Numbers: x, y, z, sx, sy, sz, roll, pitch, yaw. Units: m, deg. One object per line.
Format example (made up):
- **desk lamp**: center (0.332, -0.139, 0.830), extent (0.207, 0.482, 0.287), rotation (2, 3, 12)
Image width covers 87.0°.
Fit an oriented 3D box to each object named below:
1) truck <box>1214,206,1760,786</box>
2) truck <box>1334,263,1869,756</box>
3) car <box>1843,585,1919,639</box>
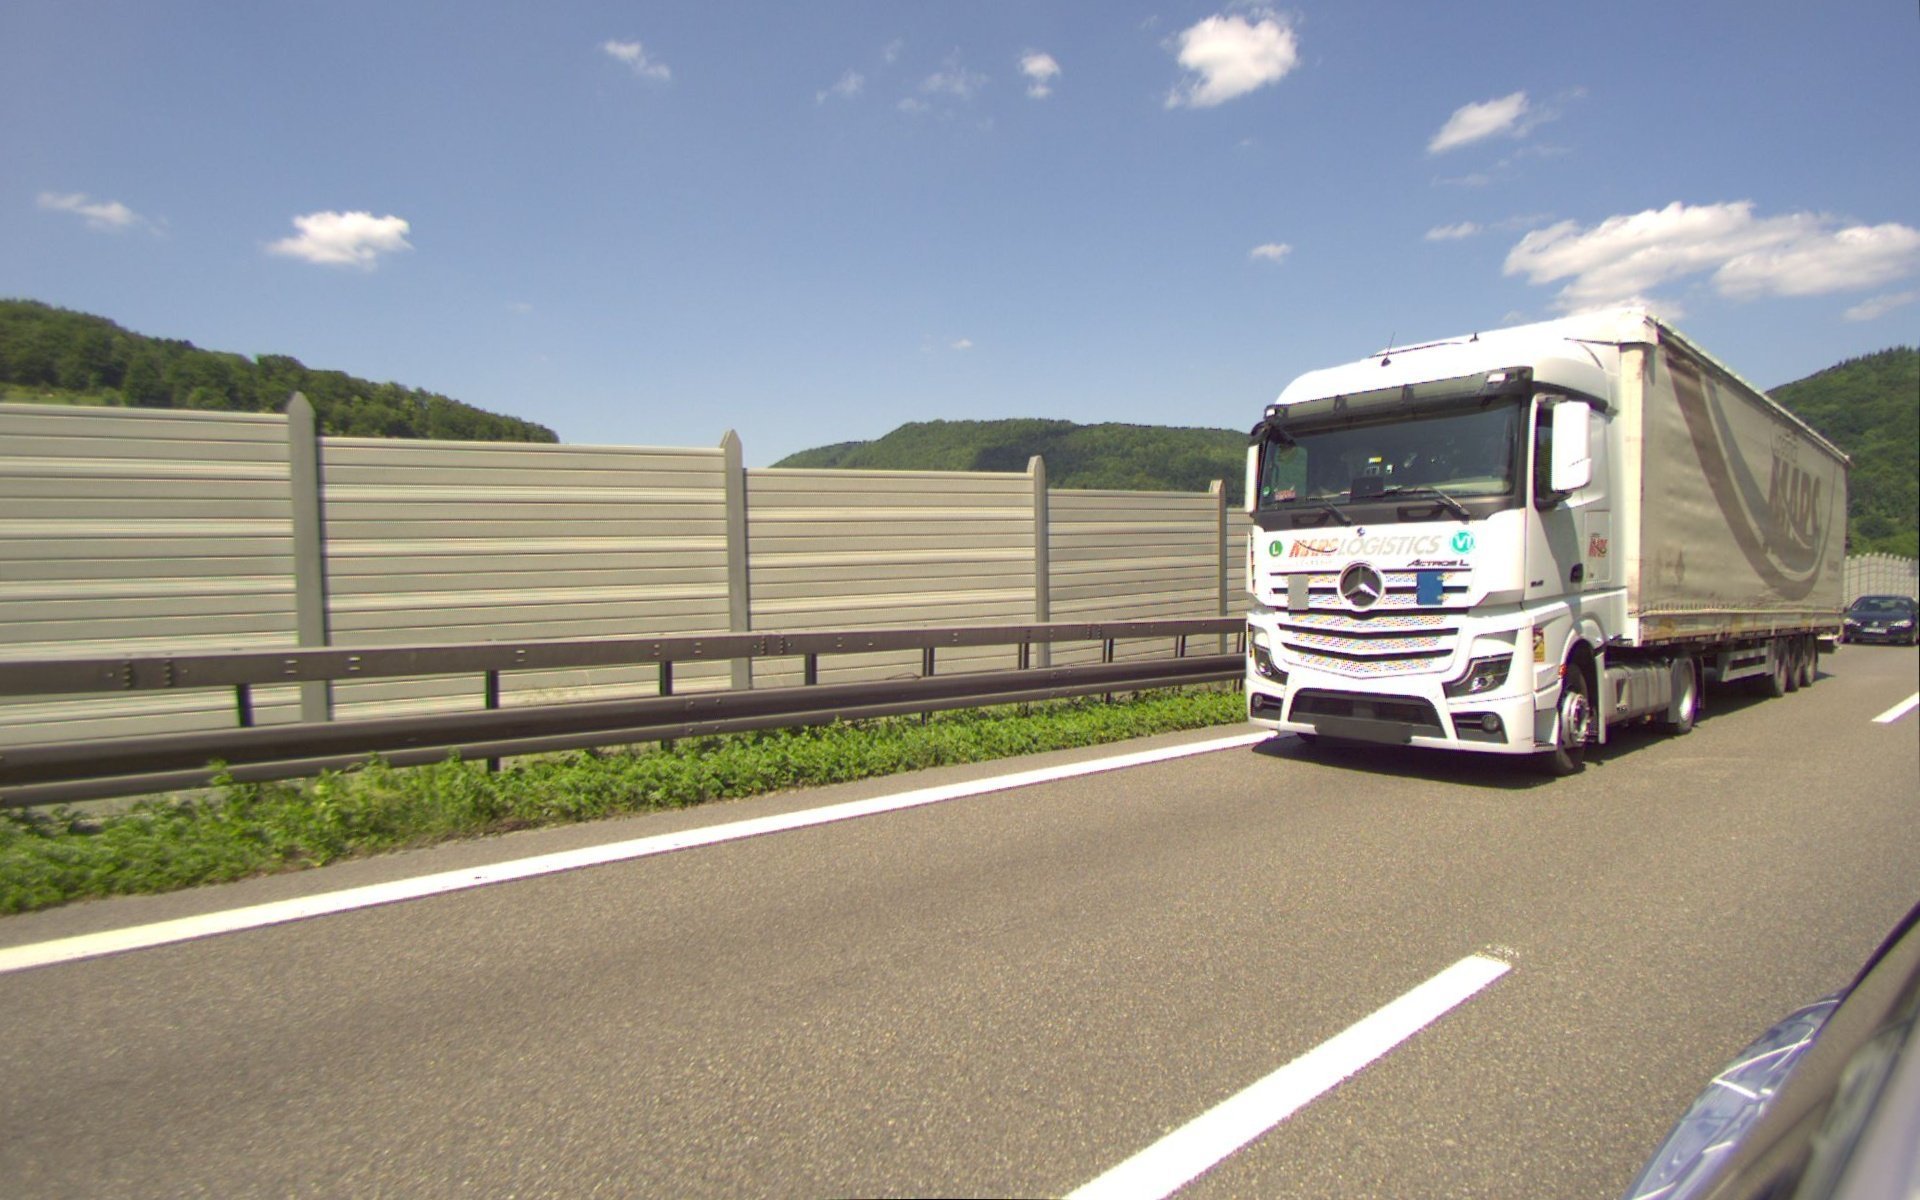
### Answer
- **truck**: center (5.737, -0.788, 10.418), extent (6.705, 4.089, 2.762), rotation (-1, 1, -41)
- **truck**: center (9.382, -0.903, 13.641), extent (11.839, 4.199, 2.859), rotation (-1, 2, -41)
- **car**: center (27.357, 0.306, 29.746), extent (3.415, 1.430, 1.661), rotation (-1, 3, -41)
